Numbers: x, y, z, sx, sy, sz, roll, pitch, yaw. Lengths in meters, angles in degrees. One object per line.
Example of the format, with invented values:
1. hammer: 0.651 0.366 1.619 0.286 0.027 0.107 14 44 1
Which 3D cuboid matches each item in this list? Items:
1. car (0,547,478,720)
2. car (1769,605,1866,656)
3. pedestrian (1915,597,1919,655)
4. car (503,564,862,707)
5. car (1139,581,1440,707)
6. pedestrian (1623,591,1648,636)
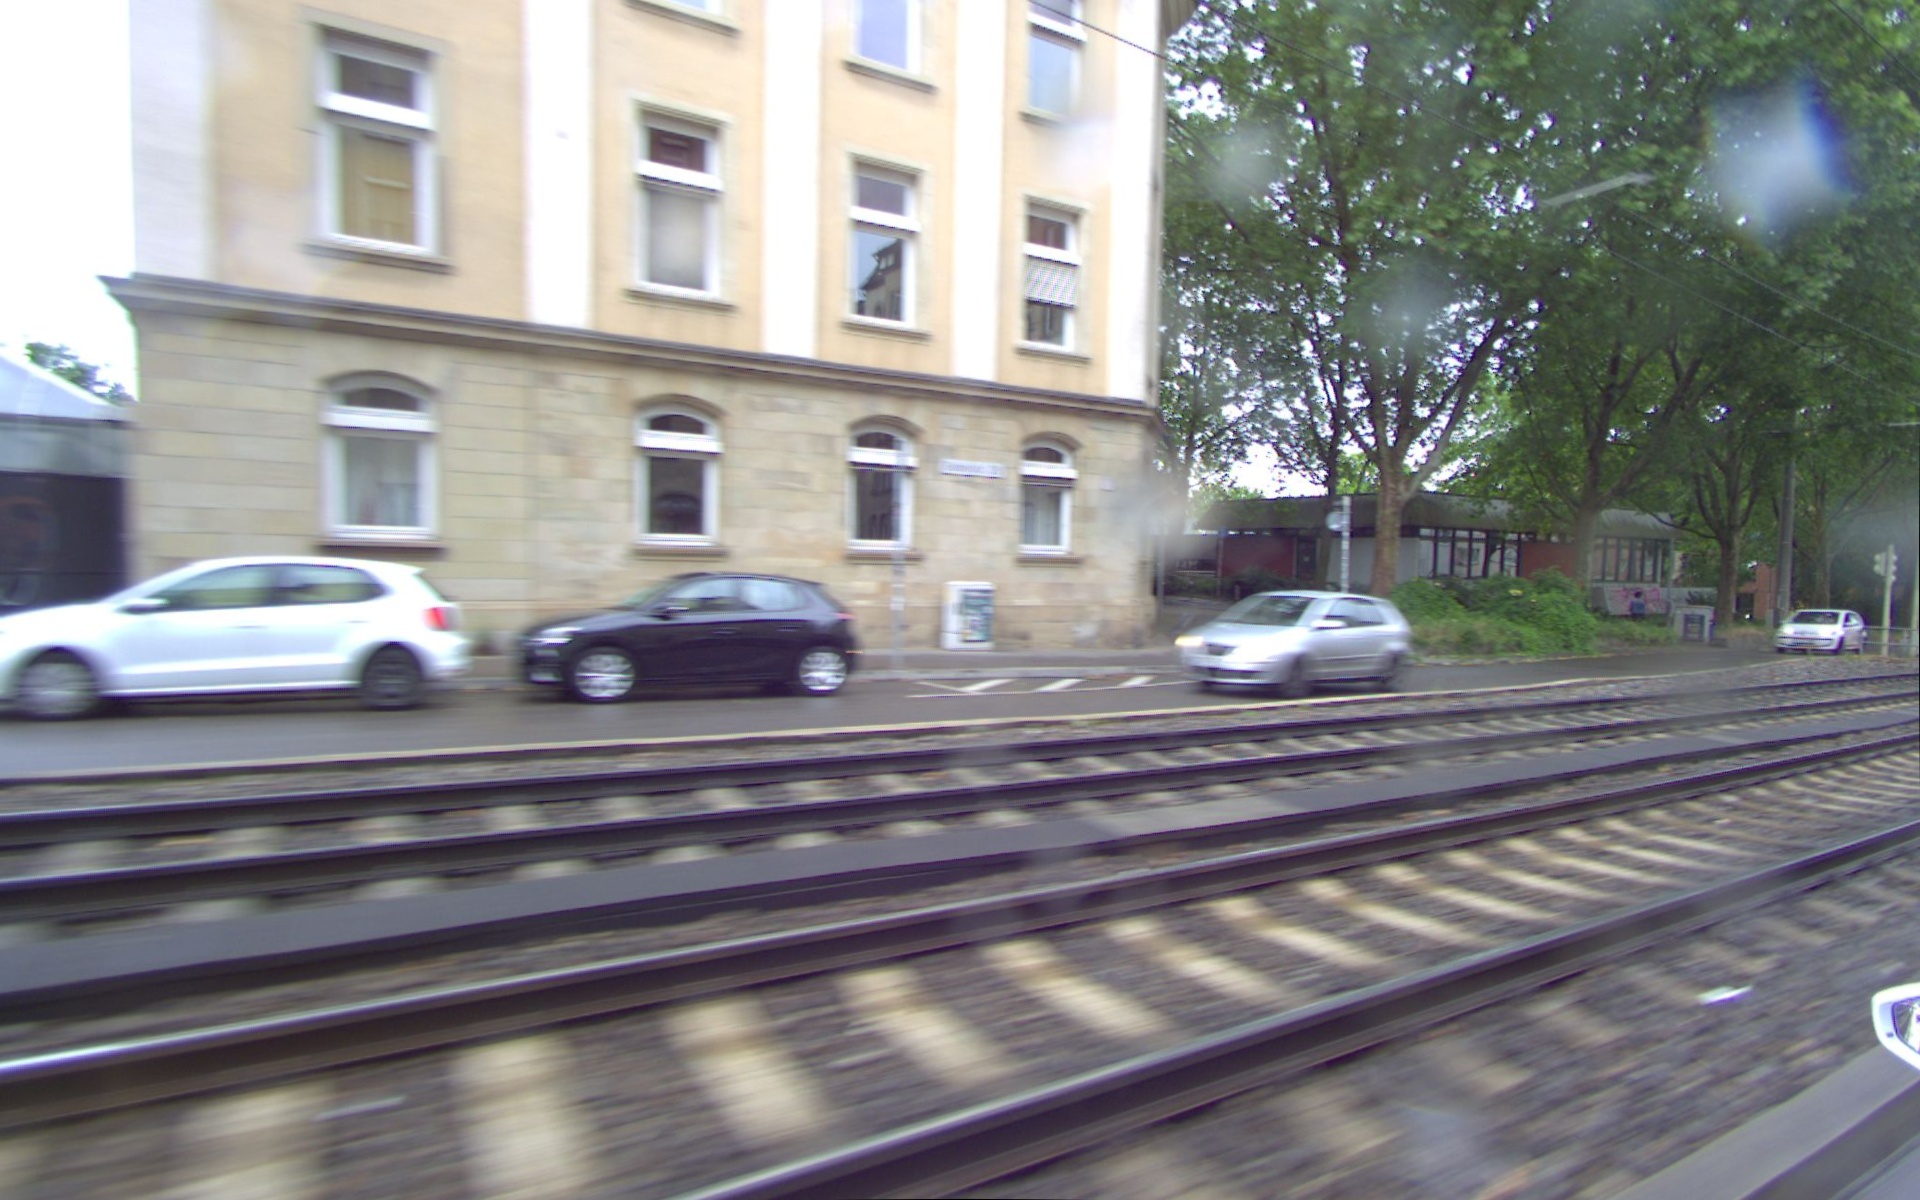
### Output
1. car: -6.846 0.311 9.631 3.939 1.409 1.493 1 -1 -29
2. car: 28.051 0.956 32.833 3.752 1.517 1.645 1 1 -38
3. pedestrian: 29.753 0.815 30.314 0.893 1.742 1.050 1 2 -28
4. car: -3.224 0.365 11.845 3.807 1.448 1.606 1 1 -31
5. car: 4.877 0.572 14.596 4.589 1.525 1.804 1 1 -36
6. pedestrian: 25.910 0.524 38.523 0.684 1.684 0.638 2 1 41
